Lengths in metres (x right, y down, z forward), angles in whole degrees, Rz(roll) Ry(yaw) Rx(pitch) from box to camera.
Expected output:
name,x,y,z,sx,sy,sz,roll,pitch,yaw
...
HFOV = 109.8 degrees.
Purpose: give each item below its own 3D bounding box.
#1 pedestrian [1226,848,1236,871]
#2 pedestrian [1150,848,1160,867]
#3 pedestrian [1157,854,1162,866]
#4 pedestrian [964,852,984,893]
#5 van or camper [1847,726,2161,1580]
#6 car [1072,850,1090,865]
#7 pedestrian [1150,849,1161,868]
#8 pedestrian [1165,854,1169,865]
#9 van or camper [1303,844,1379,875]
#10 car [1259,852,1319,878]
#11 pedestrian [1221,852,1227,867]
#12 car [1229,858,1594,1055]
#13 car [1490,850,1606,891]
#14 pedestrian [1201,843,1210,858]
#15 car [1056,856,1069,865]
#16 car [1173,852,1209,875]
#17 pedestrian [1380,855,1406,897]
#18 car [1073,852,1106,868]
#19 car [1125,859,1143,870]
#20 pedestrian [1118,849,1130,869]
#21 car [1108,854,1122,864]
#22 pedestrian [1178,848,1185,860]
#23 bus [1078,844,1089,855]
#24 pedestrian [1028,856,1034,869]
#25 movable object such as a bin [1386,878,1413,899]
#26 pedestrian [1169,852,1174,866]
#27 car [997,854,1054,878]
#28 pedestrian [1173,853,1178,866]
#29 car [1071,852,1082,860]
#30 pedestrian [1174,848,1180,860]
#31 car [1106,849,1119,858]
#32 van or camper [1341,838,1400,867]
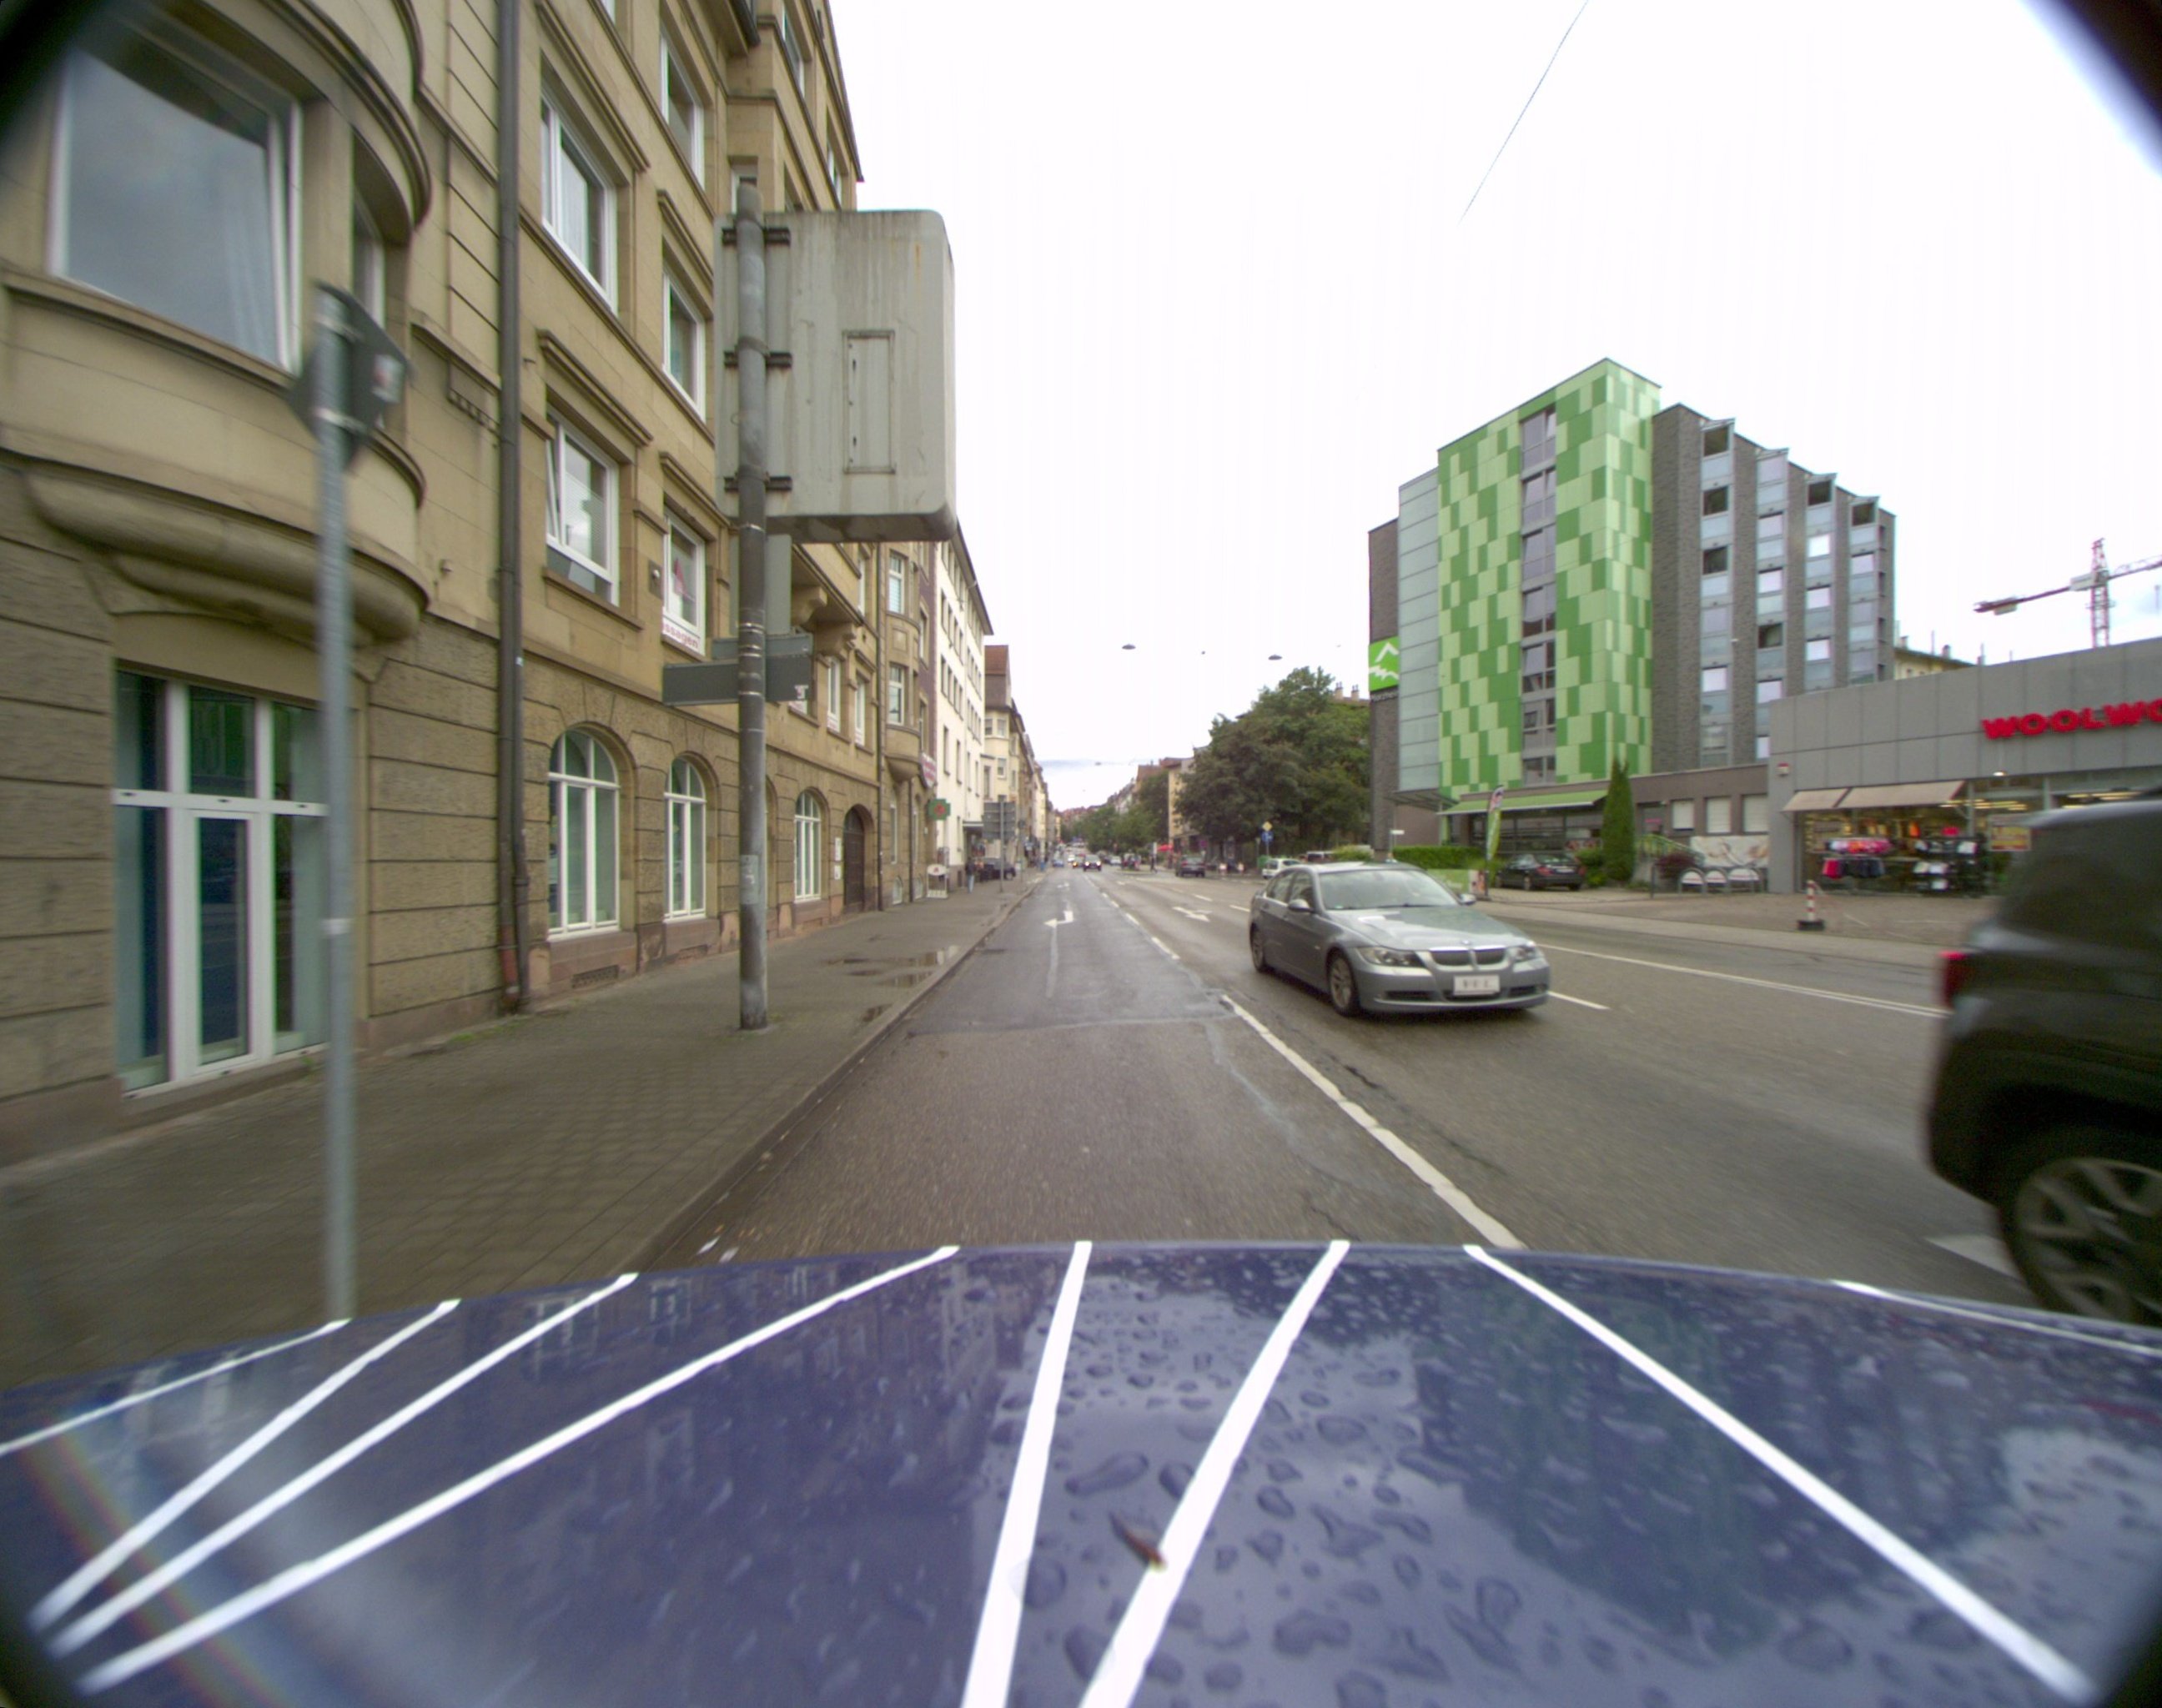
name,x,y,z,sx,sy,sz,roll,pitch,yaw
pedestrian,11.738,0.414,59.378,0.576,1.752,0.581,-1,1,-8
pedestrian,7.033,0.345,72.199,0.658,1.749,0.720,-1,1,-21
pedestrian,11.690,0.916,113.367,0.591,1.809,0.870,-1,1,-10
pedestrian,-4.567,0.771,32.428,0.673,1.710,0.901,0,1,5
van or camper,3.715,0.742,0.622,1.860,2.134,4.141,-1,0,-4
car,0.025,0.474,100.469,1.999,2.002,3.998,-1,0,-6
pedestrian,7.020,0.428,71.390,0.863,1.834,0.693,-1,1,-16
pedestrian,10.502,0.684,92.617,0.434,1.402,0.481,-1,1,-5
van or camper,18.629,0.376,54.484,4.972,2.002,1.996,-2,1,-20
car,14.236,0.726,51.981,3.592,1.560,1.738,-3,0,-22
pedestrian,11.160,0.427,59.266,0.410,1.191,0.311,-1,1,-8
car,3.067,0.823,8.218,1.804,1.455,4.369,-2,0,-3
car,17.618,0.570,28.980,1.997,1.430,4.654,0,0,6
pedestrian,15.481,-0.415,94.426,0.724,1.815,0.720,-1,0,-29
car,-2.995,1.015,120.068,1.740,1.302,3.765,-1,0,-6
car,8.274,0.694,57.408,1.953,1.649,4.056,-1,0,-2
pedestrian,12.526,0.877,30.482,0.752,1.675,0.749,0,0,44
car,0.885,0.644,80.334,1.859,1.646,4.197,-1,0,-24
car,7.313,1.373,104.816,2.019,1.417,4.499,-1,0,-1
pedestrian,3.928,0.464,69.948,0.724,1.815,0.853,-1,0,-24
car,5.526,0.826,124.320,1.824,1.560,4.088,1,0,-2
pedestrian,13.777,0.007,103.765,0.711,1.669,0.801,-1,1,27
bus,0.798,-1.436,241.025,2.813,3.228,11.956,4,1,-2
pedestrian,-6.424,1.096,97.596,0.563,1.563,0.626,-1,1,-17
movable object such as a bin,12.522,1.352,29.837,0.752,0.784,0.735,1,1,44
pedestrian,10.987,0.612,92.652,0.499,1.663,0.552,-1,1,-5
car,-4.097,0.876,55.813,3.981,1.539,1.734,-2,1,-7
pedestrian,11.521,0.674,92.492,0.461,1.465,0.530,-1,1,-5
car,-1.000,0.490,154.002,1.960,1.548,4.242,1,0,-3
pedestrian,13.230,0.035,105.118,0.715,1.669,0.713,-1,1,-2
car,5.961,-0.105,143.295,1.960,1.548,4.242,1,0,-3
van or camper,24.807,-0.115,65.123,4.624,2.253,2.207,-3,0,-30
